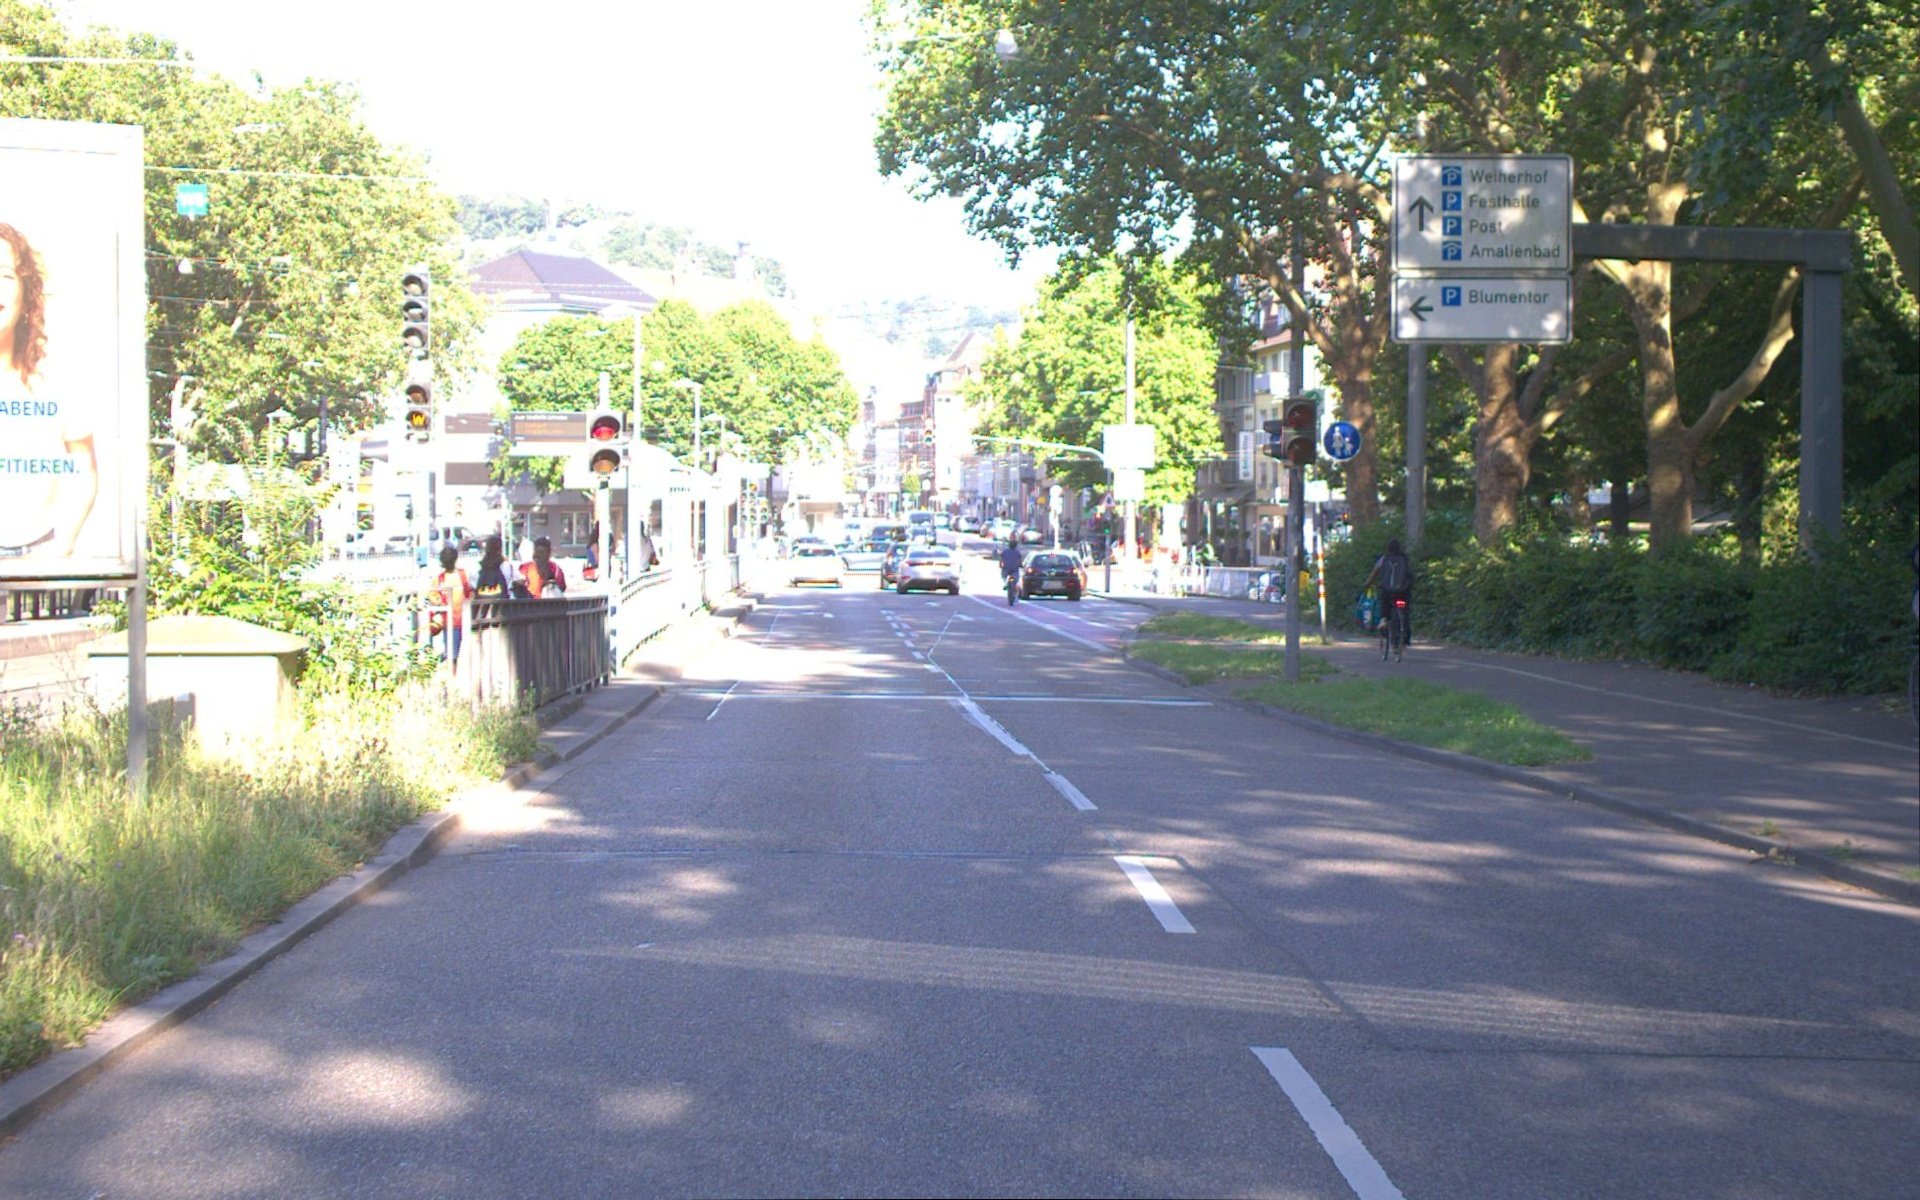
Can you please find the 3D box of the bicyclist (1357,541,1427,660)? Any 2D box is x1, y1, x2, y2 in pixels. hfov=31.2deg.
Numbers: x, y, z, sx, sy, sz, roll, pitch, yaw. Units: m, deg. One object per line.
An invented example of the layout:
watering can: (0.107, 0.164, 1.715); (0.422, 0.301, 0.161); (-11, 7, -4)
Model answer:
bicyclist: (5.494, 0.002, 43.747); (0.766, 1.507, 0.650); (0, 1, -3)

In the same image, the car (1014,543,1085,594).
car: (2.649, -0.963, 102.912); (1.800, 1.434, 4.046); (2, 1, -3)

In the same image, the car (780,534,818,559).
car: (-9.815, -3.253, 209.574); (1.794, 1.505, 3.999); (0, 1, 5)

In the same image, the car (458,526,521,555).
car: (-26.557, -3.371, 194.158); (1.923, 1.643, 4.177); (1, 1, 18)

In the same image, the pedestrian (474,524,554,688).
pedestrian: (-4.338, 0.055, 33.449); (0.520, 1.563, 0.507); (-2, 1, 28)

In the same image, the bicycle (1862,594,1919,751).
bicycle: (7.269, 0.529, 25.281); (0.699, 1.104, 1.930); (0, 1, -2)

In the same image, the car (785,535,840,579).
car: (-5.037, -1.483, 116.853); (1.808, 1.447, 4.001); (1, 1, -3)

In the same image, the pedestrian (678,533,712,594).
pedestrian: (-5.816, -0.804, 75.481); (0.678, 1.304, 0.593); (1, 1, -2)

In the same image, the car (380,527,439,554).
car: (-31.493, -3.392, 196.721); (1.795, 1.505, 4.007); (1, 1, 16)

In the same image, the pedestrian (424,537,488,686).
pedestrian: (-5.052, 0.111, 34.456); (0.520, 1.467, 0.514); (-2, 1, -1)

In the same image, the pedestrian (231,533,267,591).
pedestrian: (-16.494, -0.882, 79.758); (0.669, 1.320, 0.757); (-3, 1, -4)

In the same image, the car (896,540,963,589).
car: (-0.981, -1.141, 107.816); (1.929, 1.467, 4.855); (1, 1, -2)

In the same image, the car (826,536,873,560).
car: (-6.980, -3.297, 217.732); (1.795, 1.505, 3.997); (0, 1, 17)

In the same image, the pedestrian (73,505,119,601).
pedestrian: (-16.105, -0.868, 64.070); (0.648, 1.766, 0.650); (1, 0, 0)

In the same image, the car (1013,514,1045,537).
car: (5.228, -5.676, 261.814); (2.104, 1.770, 4.342); (0, 1, -3)

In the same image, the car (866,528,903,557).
car: (-4.931, -3.776, 225.218); (1.795, 1.820, 3.999); (0, 1, 8)

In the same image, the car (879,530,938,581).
car: (-1.741, -1.500, 115.225); (1.800, 1.632, 4.046); (1, 1, -3)

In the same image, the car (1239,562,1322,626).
car: (9.894, -0.204, 106.258); (1.794, 1.891, 4.360); (1, 0, -5)

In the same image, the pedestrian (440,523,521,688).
pedestrian: (-4.603, 0.052, 33.034); (0.520, 1.563, 0.507); (-2, 1, 28)

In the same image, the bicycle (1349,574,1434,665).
bicycle: (5.495, 0.239, 43.889); (0.766, 1.104, 1.800); (0, 1, -3)

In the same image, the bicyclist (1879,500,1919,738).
bicyclist: (7.273, 0.128, 25.276); (0.699, 1.722, 1.080); (0, 1, -2)

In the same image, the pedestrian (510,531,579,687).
pedestrian: (-4.122, 0.083, 34.120); (0.589, 1.514, 0.514); (-2, 1, -2)

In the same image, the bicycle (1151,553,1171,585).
bicycle: (6.927, -1.060, 118.548); (0.498, 1.071, 1.800); (1, 0, -3)

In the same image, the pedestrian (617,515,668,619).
pedestrian: (-5.285, -0.554, 57.263); (0.742, 1.688, 0.791); (2, 1, -2)

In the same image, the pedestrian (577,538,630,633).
pedestrian: (-6.544, -0.258, 63.122); (0.651, 1.716, 0.710); (1, 1, -38)

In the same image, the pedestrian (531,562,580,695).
pedestrian: (-4.073, 0.284, 34.599); (0.416, 1.316, 0.359); (-2, 1, -2)

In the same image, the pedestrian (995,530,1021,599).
pedestrian: (1.300, -0.959, 92.777); (0.657, 1.864, 0.678); (0, 1, -3)

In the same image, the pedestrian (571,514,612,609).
pedestrian: (-6.137, -0.640, 57.210); (0.588, 1.561, 0.650); (2, 1, -2)
